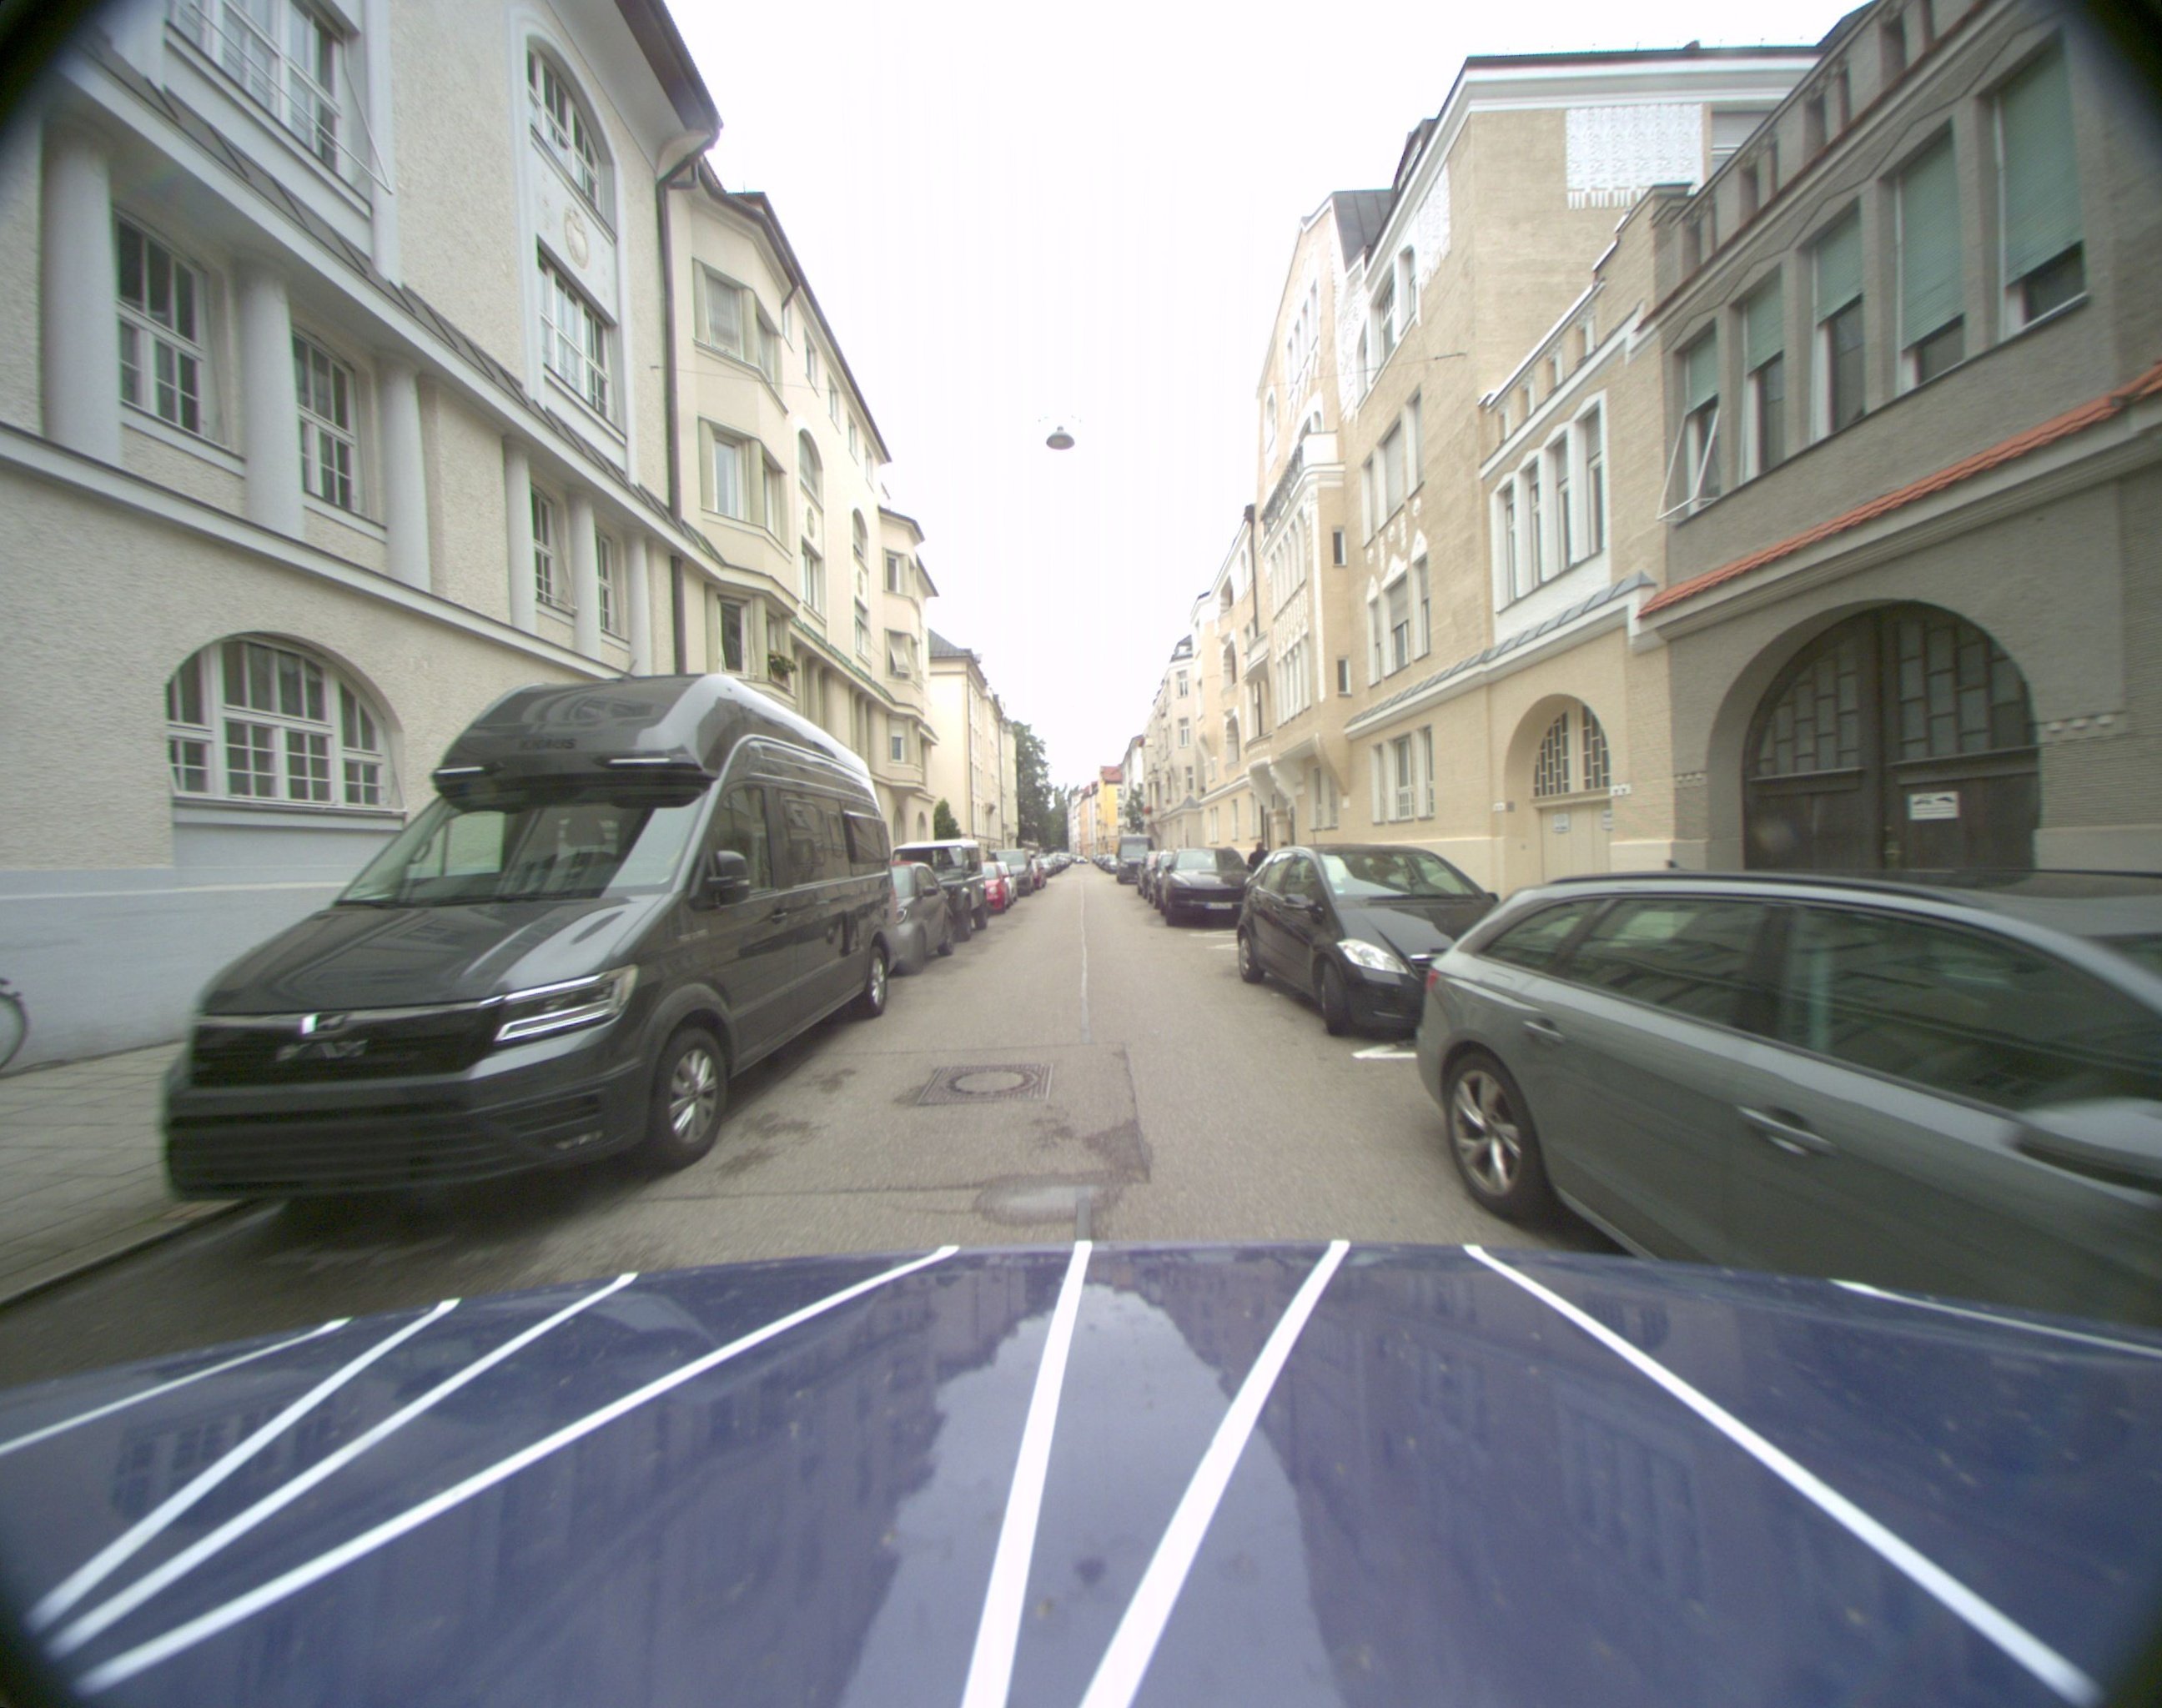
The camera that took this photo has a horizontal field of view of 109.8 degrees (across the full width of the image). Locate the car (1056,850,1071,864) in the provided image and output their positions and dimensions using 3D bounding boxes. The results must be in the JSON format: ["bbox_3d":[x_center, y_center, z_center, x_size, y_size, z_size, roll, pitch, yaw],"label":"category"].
[{"bbox_3d":[-2.210,0.388,97.077,1.683,1.671,3.645,-2,0,0],"label":"car"}]

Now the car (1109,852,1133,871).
[{"bbox_3d":[3.139,0.552,60.330,1.683,1.390,3.705,-2,0,0],"label":"car"}]

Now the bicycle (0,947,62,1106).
[{"bbox_3d":[-7.699,1.221,4.685,0.389,1.063,1.788,0,1,1],"label":"bicycle"}]

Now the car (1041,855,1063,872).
[{"bbox_3d":[-2.529,0.783,66.332,1.683,1.375,3.645,-2,0,0],"label":"car"}]

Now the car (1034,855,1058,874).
[{"bbox_3d":[-2.819,0.821,61.807,1.683,1.375,3.645,-2,0,0],"label":"car"}]

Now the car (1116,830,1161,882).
[{"bbox_3d":[3.032,0.077,41.049,2.104,2.606,5.678,0,0,1],"label":"car"}]

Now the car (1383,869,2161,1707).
[{"bbox_3d":[2.550,0.864,1.602,1.842,1.504,4.607,-2,0,-2],"label":"car"}]

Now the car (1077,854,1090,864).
[{"bbox_3d":[0.487,0.896,140.607,1.999,1.788,3.998,-2,0,-4],"label":"car"}]

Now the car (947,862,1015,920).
[{"bbox_3d":[-2.847,1.014,22.226,1.497,1.463,3.503,-3,0,-1],"label":"car"}]

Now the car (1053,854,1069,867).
[{"bbox_3d":[-2.334,0.785,89.125,1.683,1.434,3.645,-2,0,0],"label":"car"}]

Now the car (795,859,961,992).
[{"bbox_3d":[-2.844,0.939,11.223,1.545,1.616,2.815,-2,0,2],"label":"car"}]

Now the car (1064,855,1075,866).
[{"bbox_3d":[-1.827,1.043,126.469,1.683,1.671,3.645,-2,0,0],"label":"car"}]

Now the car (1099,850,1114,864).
[{"bbox_3d":[3.155,0.334,94.122,1.683,1.628,3.704,-2,0,-1],"label":"car"}]

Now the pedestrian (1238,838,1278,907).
[{"bbox_3d":[4.717,0.494,20.341,0.837,1.779,0.741,-2,1,0],"label":"pedestrian"}]

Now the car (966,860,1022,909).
[{"bbox_3d":[-2.957,0.994,26.300,1.497,1.463,3.675,-3,0,-1],"label":"car"}]

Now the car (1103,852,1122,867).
[{"bbox_3d":[3.139,0.576,76.461,1.683,1.390,3.704,-2,0,-1],"label":"car"}]

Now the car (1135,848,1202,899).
[{"bbox_3d":[3.079,0.638,27.643,1.877,1.639,4.459,-2,0,0],"label":"car"}]

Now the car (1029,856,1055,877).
[{"bbox_3d":[-2.910,0.911,57.173,1.683,1.434,3.645,-2,0,0],"label":"car"}]

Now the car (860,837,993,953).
[{"bbox_3d":[-3.015,0.724,15.747,1.800,2.027,4.071,-2,0,1],"label":"car"}]

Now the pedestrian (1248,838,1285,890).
[{"bbox_3d":[6.390,0.347,26.206,0.995,1.719,0.939,-2,1,0],"label":"pedestrian"}]

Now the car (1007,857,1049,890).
[{"bbox_3d":[-2.551,0.913,37.249,1.731,1.458,3.737,-2,0,0],"label":"car"}]

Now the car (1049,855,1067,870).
[{"bbox_3d":[-2.395,0.846,79.294,1.683,1.434,3.645,-2,0,0],"label":"car"}]

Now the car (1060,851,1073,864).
[{"bbox_3d":[-1.947,0.476,102.897,1.683,1.671,3.645,-2,0,0],"label":"car"}]

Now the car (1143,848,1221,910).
[{"bbox_3d":[2.927,0.664,22.798,1.736,1.633,4.101,-2,0,0],"label":"car"}]

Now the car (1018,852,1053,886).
[{"bbox_3d":[-2.558,0.824,43.394,1.683,1.767,3.456,-2,0,0],"label":"car"}]

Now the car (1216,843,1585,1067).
[{"bbox_3d":[2.710,0.729,7.492,1.808,1.563,3.812,-2,0,-4],"label":"car"}]

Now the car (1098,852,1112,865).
[{"bbox_3d":[3.324,0.575,104.905,1.683,1.628,3.704,-2,0,-1],"label":"car"}]

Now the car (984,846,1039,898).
[{"bbox_3d":[-2.866,0.708,32.190,1.881,1.925,4.662,-3,0,-1],"label":"car"}]

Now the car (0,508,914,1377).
[{"bbox_3d":[-3.149,0.280,5.714,2.260,2.943,6.130,-3,1,0],"label":"car"}]

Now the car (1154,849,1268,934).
[{"bbox_3d":[2.783,0.723,17.277,1.955,1.649,4.618,-1,0,2],"label":"car"}]

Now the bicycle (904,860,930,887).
[{"bbox_3d":[-7.222,0.856,33.500,0.719,1.111,1.967,0,0,0],"label":"bicycle"}]
